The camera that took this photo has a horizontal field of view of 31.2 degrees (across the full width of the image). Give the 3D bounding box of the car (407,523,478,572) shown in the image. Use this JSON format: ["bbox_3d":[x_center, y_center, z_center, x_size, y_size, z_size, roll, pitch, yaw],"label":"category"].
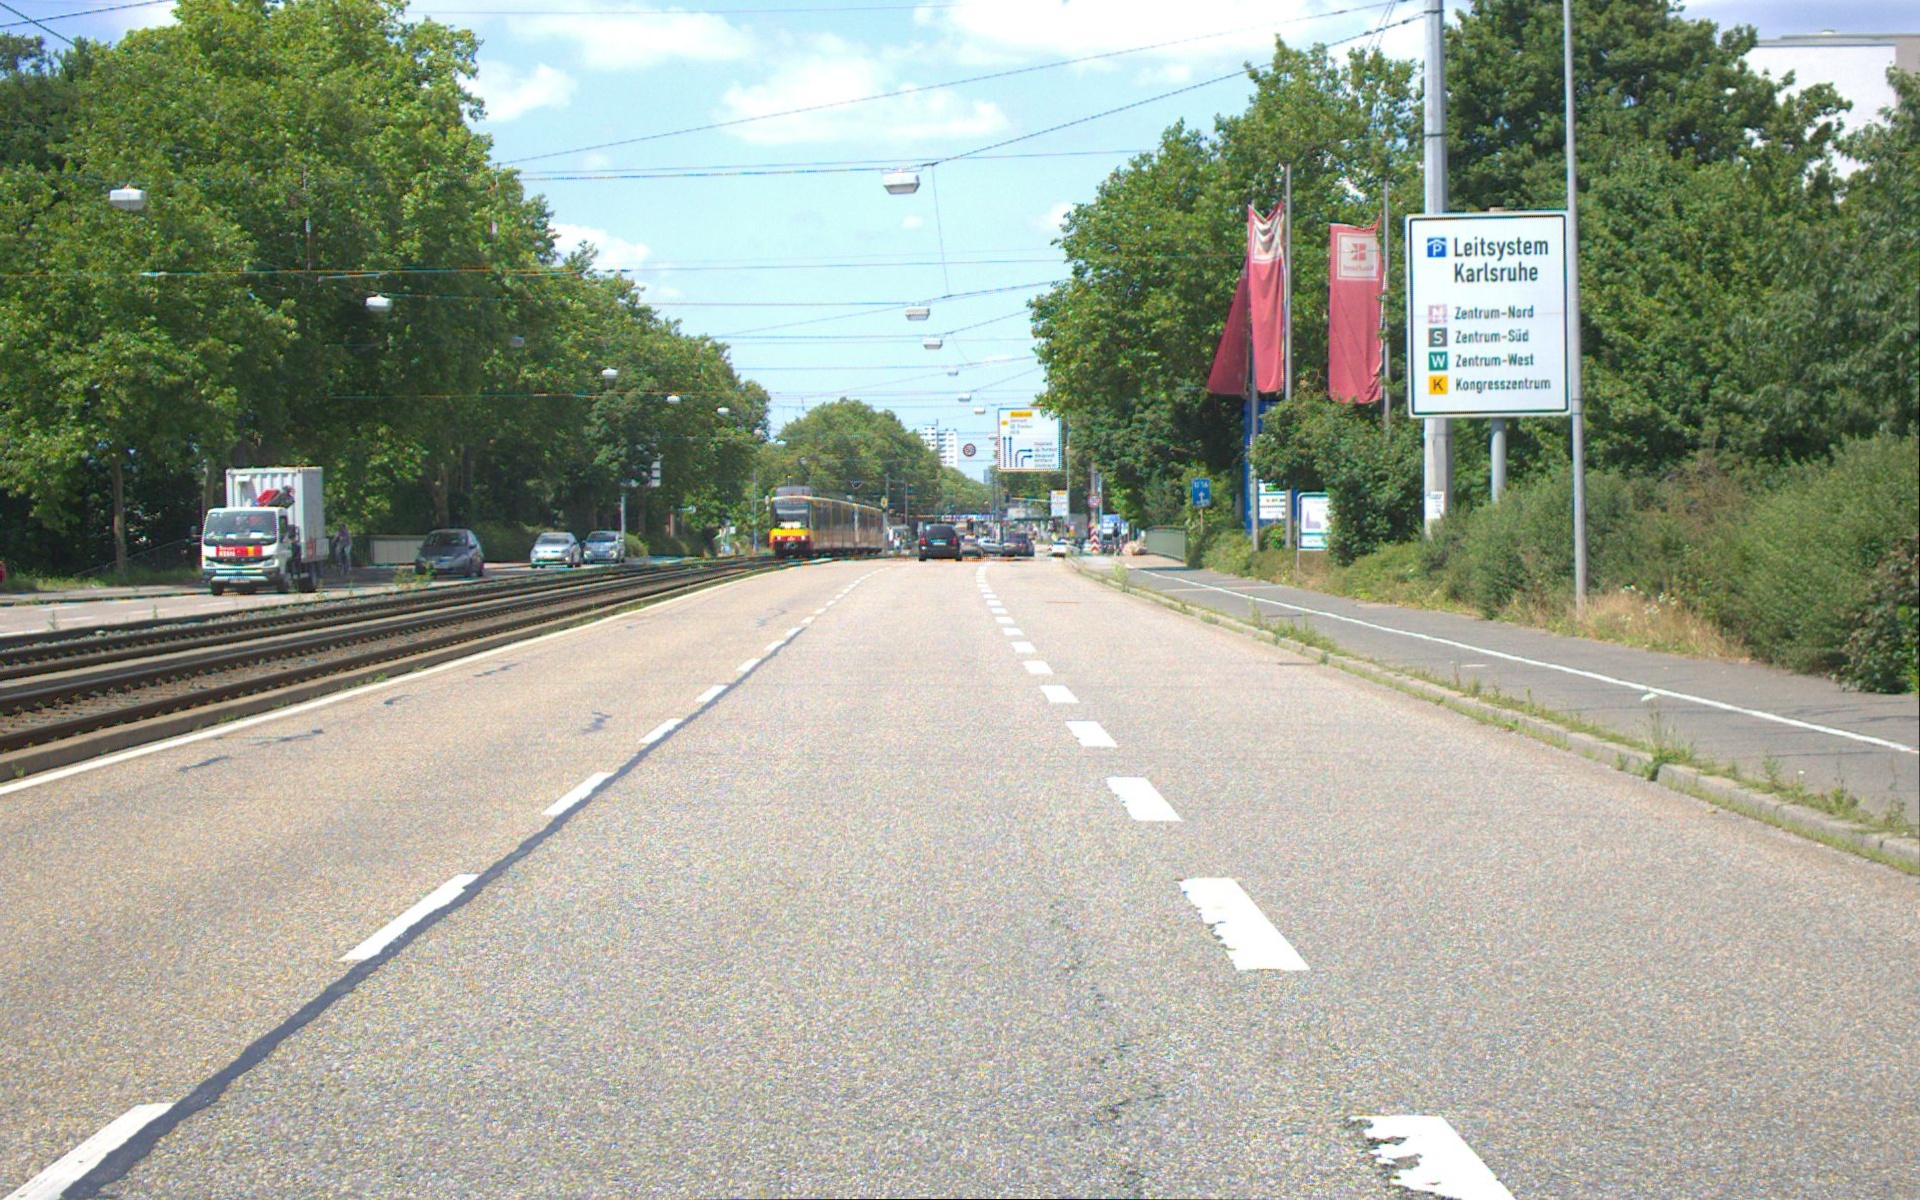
[{"bbox_3d":[-16.778,-1.729,111.589,1.752,1.530,3.957,-1,1,-1],"label":"car"}]

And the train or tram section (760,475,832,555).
[{"bbox_3d":[-9.103,-4.729,192.586,3.048,4.252,15.423,0,1,1],"label":"train or tram section"}]

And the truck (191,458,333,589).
[{"bbox_3d":[-17.813,-1.963,88.067,2.250,3.225,6.042,-1,1,1],"label":"truck"}]

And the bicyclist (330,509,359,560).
[{"bbox_3d":[-20.027,-2.132,111.927,0.623,1.612,1.062,2,1,6],"label":"bicyclist"}]

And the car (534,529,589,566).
[{"bbox_3d":[-15.991,-2.128,138.112,1.636,1.417,4.127,-1,1,1],"label":"car"}]

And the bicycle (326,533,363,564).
[{"bbox_3d":[-20.054,-1.682,112.017,0.623,0.976,2.054,2,1,6],"label":"bicycle"}]

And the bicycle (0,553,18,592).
[{"bbox_3d":[-22.094,-0.627,78.152,0.651,0.856,2.120,1,1,4],"label":"bicycle"}]

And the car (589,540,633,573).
[{"bbox_3d":[-15.861,-2.004,156.369,1.636,1.431,3.722,-2,1,-1],"label":"car"}]

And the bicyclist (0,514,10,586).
[{"bbox_3d":[-22.092,-1.142,78.051,0.651,1.614,1.155,1,1,3],"label":"bicyclist"}]

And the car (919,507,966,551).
[{"bbox_3d":[-0.758,-3.039,147.037,1.899,1.799,3.977,1,1,-1],"label":"car"}]
